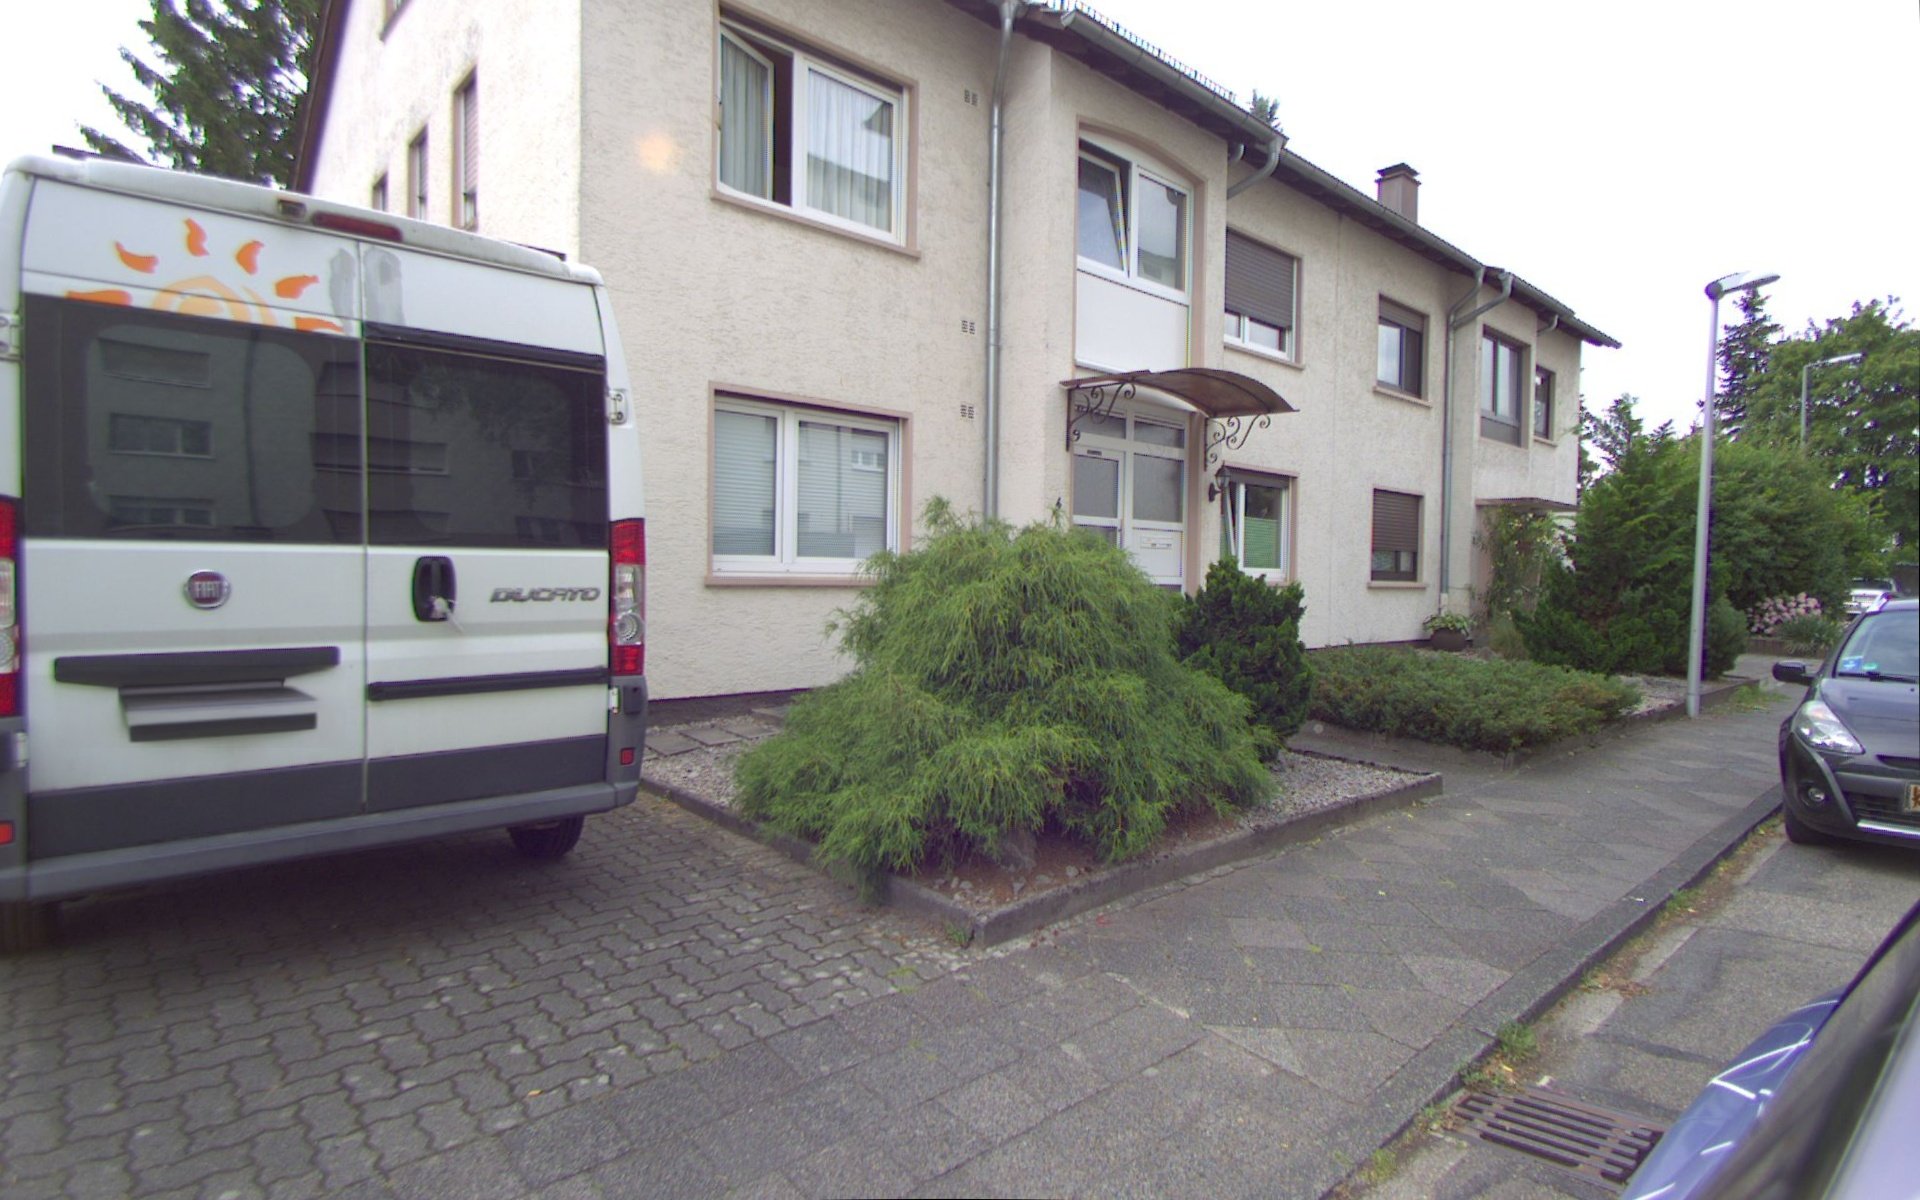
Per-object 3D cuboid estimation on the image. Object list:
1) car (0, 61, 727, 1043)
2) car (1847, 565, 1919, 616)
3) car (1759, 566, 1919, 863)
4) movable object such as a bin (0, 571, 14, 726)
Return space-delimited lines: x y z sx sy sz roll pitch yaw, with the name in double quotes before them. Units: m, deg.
"car" -3.446 -0.255 5.242 2.199 2.573 5.098 0 3 -41
"car" 30.416 -0.358 33.198 3.936 1.484 1.702 -3 4 -45
"car" 6.438 0.553 6.273 4.122 1.476 1.831 -1 1 -44
"movable object such as a bin" -7.039 0.338 7.130 0.537 1.069 0.456 -1 4 -43
